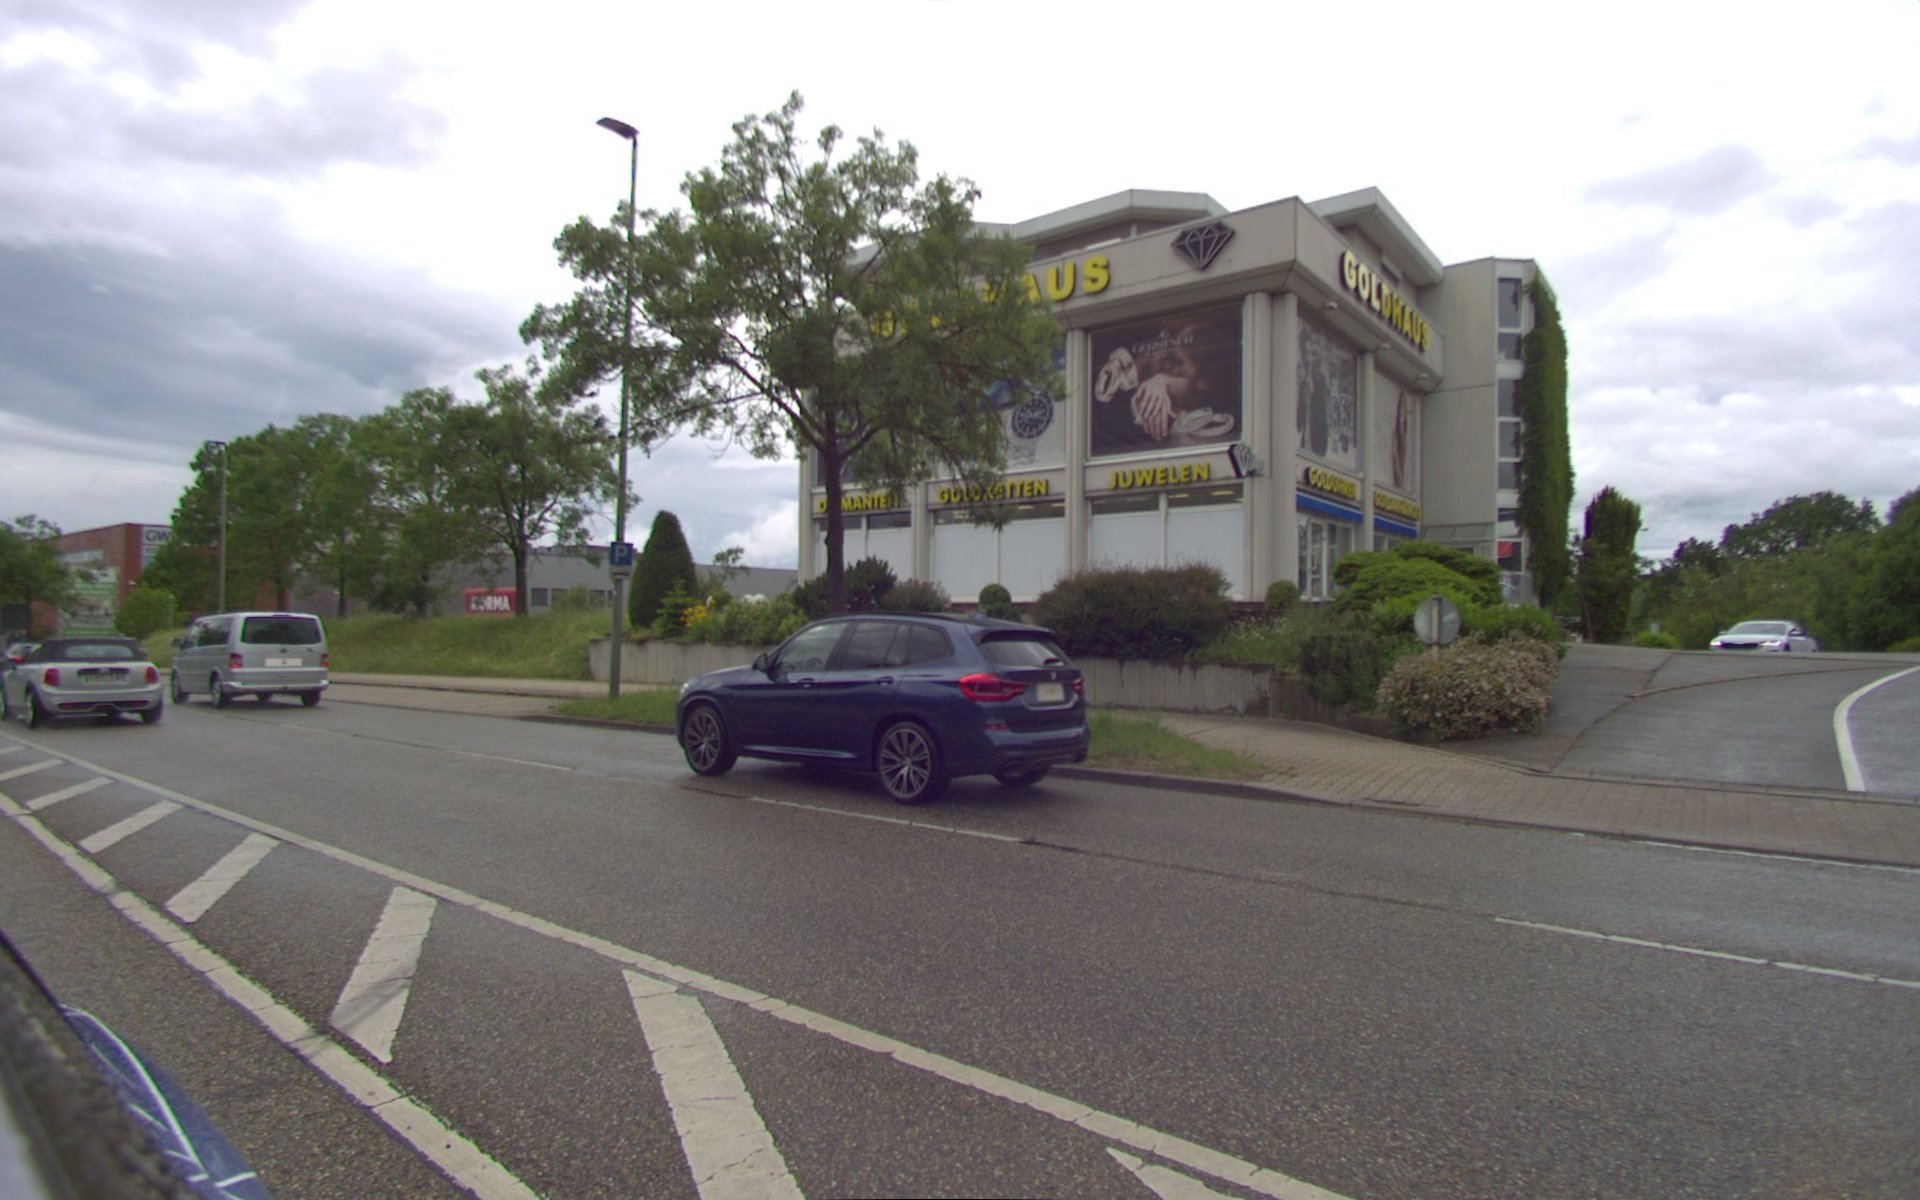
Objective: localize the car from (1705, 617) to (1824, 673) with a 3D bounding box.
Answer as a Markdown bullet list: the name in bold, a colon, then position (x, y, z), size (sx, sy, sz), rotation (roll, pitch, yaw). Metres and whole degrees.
- **car**: position (23.618, 1.290, 29.669), size (3.938, 1.524, 1.878), rotation (1, -2, -39)

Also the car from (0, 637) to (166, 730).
- **car**: position (-15.150, 1.340, 17.226), size (3.995, 1.409, 1.651), rotation (-2, -3, 38)

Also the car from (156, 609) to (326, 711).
- **car**: position (-15.720, 1.269, 22.035), size (4.894, 1.998, 1.778), rotation (-2, -4, 40)

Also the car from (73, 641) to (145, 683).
- **car**: position (-36.748, 2.657, 43.663), size (4.485, 1.681, 1.708), rotation (-3, -1, 41)

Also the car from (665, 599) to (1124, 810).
- **car**: position (-0.802, 0.908, 9.940), size (4.527, 1.623, 1.734), rotation (-2, -4, 39)

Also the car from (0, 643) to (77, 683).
- **car**: position (-34.956, 2.351, 38.041), size (4.292, 1.412, 1.776), rotation (-2, -3, 37)
